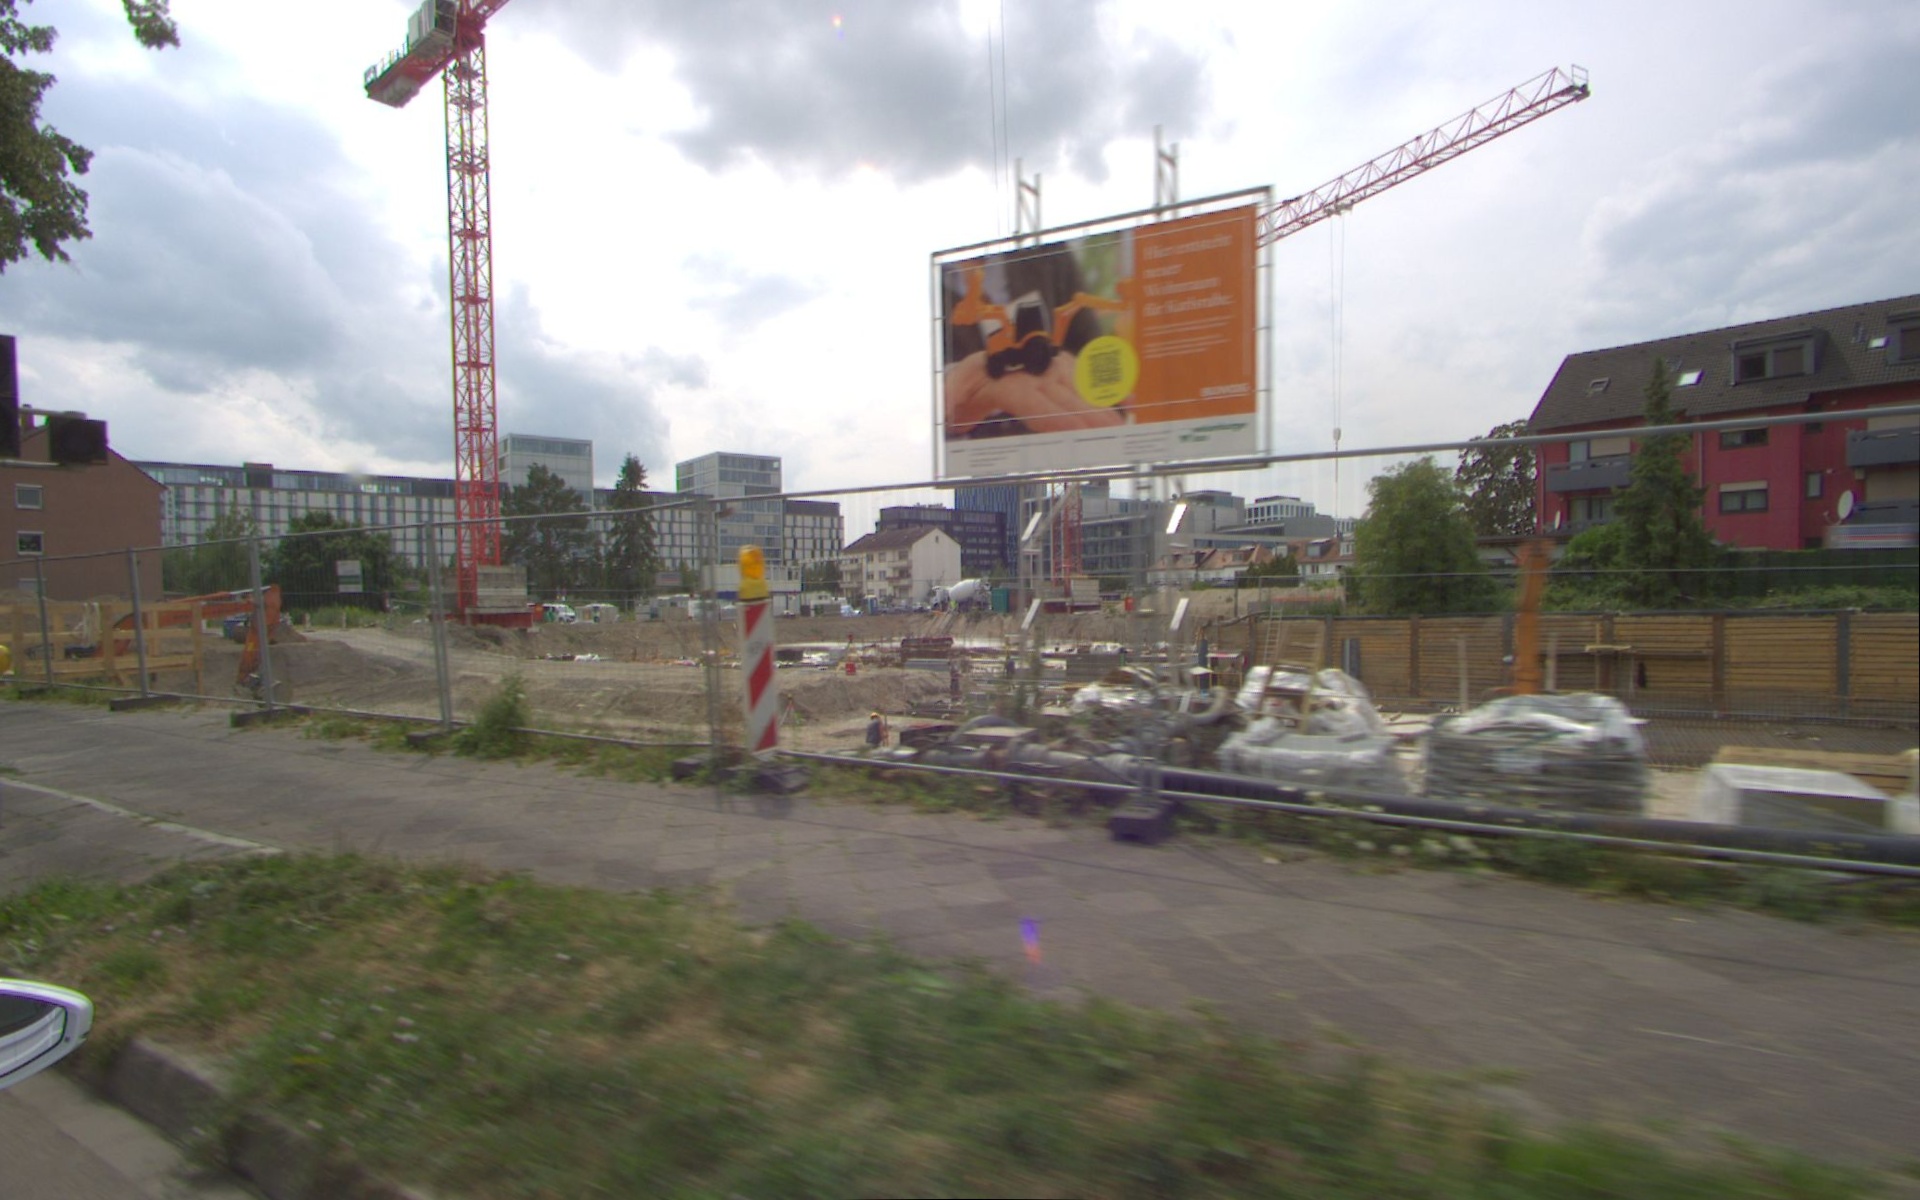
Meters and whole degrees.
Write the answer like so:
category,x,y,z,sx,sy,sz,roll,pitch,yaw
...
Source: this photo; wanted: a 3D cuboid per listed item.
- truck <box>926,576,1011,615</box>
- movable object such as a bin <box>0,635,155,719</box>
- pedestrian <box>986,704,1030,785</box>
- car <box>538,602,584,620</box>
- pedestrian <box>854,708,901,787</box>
category,x,y,z,sx,sy,sz,roll,pitch,yaw
truck,0.871,-0.501,114.598,10.158,4.189,3.320,0,2,44
movable object such as a bin,-33.170,2.768,37.304,4.650,2.625,3.102,-3,2,-44
pedestrian,1.126,3.413,23.727,0.709,1.745,0.842,-2,2,-24
car,-36.756,1.007,92.141,4.143,1.435,1.715,2,2,29
pedestrian,-2.006,3.581,24.401,0.836,1.745,0.714,-3,3,-42
